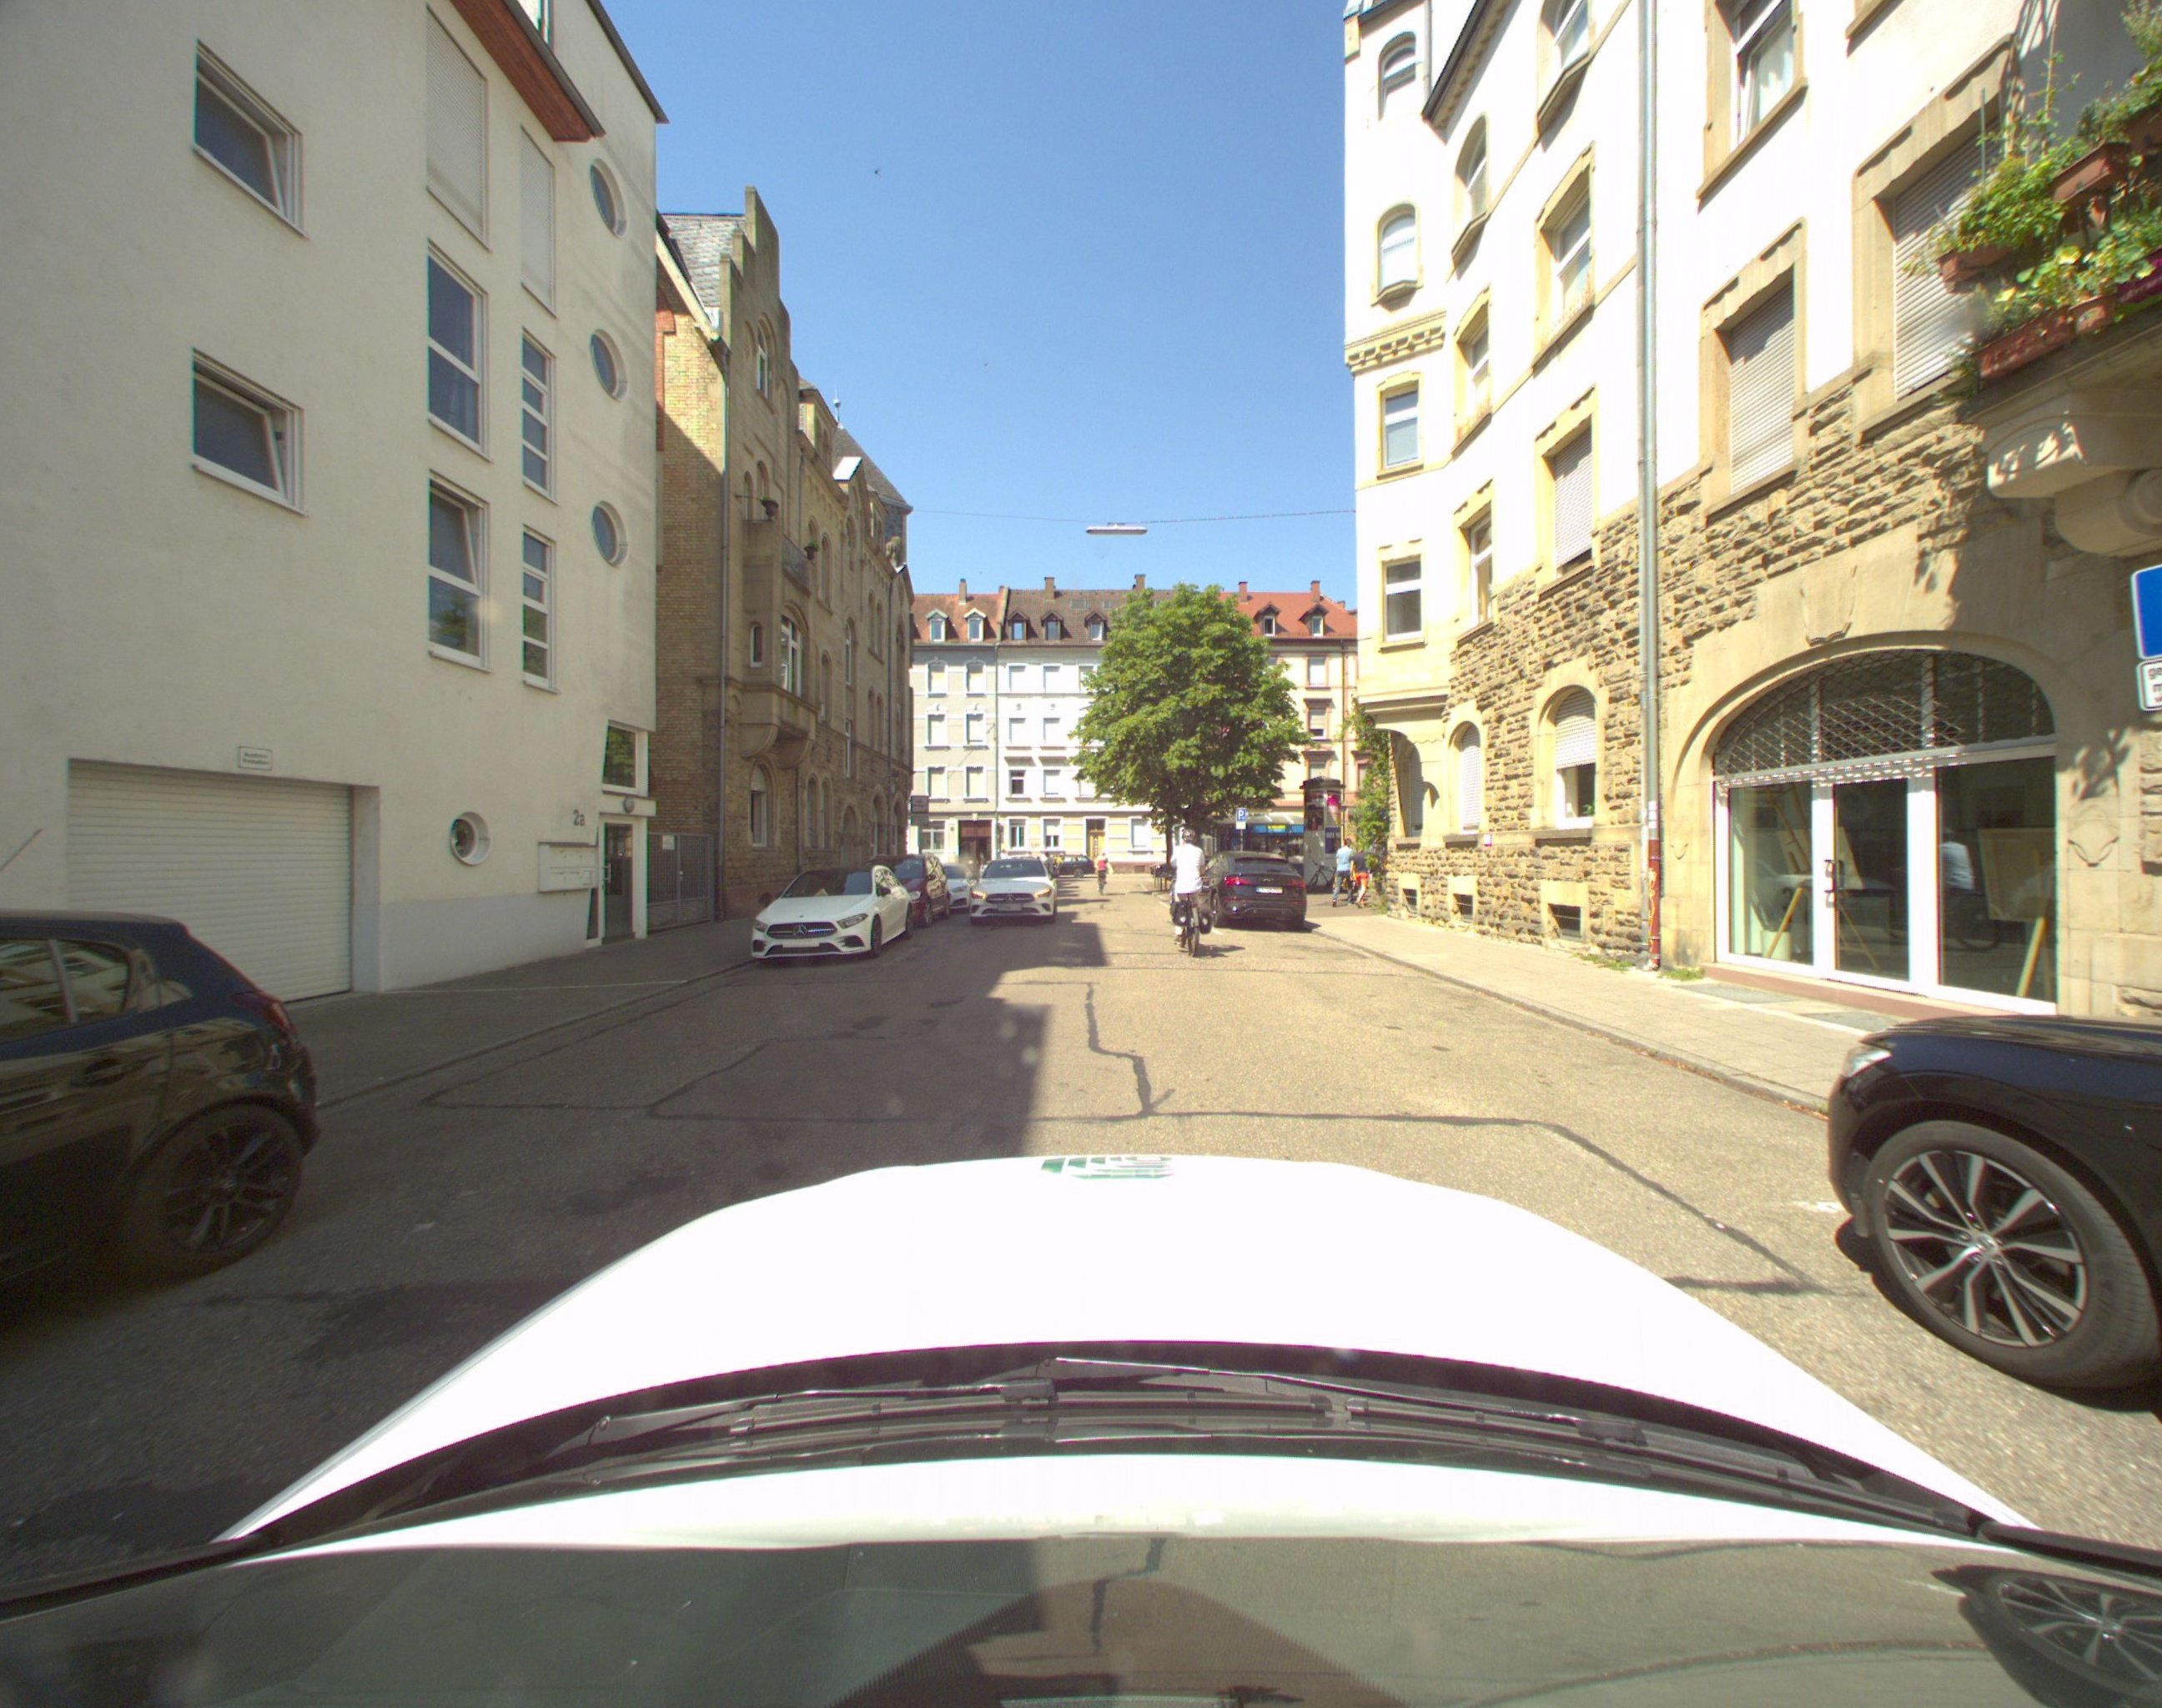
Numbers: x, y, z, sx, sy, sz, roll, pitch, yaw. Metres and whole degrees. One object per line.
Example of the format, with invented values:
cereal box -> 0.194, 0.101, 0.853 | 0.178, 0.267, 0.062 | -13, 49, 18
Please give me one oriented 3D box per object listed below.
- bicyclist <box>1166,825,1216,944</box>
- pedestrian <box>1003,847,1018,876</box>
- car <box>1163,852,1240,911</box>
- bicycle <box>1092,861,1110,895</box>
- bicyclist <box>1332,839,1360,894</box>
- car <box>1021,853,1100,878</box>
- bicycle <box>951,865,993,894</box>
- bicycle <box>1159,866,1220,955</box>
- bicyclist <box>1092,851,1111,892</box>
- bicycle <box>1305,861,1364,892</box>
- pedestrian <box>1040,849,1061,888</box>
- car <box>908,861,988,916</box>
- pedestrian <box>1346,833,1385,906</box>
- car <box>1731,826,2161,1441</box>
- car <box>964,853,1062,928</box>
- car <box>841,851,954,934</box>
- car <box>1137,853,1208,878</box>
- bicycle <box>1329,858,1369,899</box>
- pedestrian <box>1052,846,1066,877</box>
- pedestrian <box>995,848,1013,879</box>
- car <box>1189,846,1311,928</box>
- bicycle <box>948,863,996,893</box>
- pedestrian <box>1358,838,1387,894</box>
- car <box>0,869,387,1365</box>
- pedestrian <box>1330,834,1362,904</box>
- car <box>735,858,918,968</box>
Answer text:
bicyclist -> 1.666, 0.452, 12.401 | 0.668, 1.760, 0.609 | 1, 0, 1
pedestrian -> -4.493, 0.477, 51.817 | 0.899, 1.814, 0.959 | -1, 0, -5
car -> 3.480, 0.742, 24.134 | 1.657, 1.540, 4.177 | 1, 0, 0
bicycle -> 0.763, 0.895, 31.385 | 0.649, 1.209, 2.442 | 1, 0, 1
bicyclist -> 8.071, 0.381, 24.778 | 0.671, 1.647, 0.666 | -1, -1, 28
car -> -1.276, 0.720, 51.616 | 4.844, 1.437, 1.999 | -1, 0, -1
bicycle -> -4.106, 0.958, 30.647 | 1.522, 1.008, 0.366 | 2, -1, -5
bicycle -> 1.661, 0.824, 12.795 | 0.649, 1.228, 2.442 | 1, 0, 1
bicyclist -> 0.795, 0.671, 31.443 | 0.668, 1.533, 0.609 | -1, 0, 1
bicycle -> 8.963, 0.796, 28.840 | 1.894, 1.039, 0.634 | -1, 0, 0
pedestrian -> -1.364, 0.645, 36.480 | 0.854, 1.672, 0.774 | -1, 0, 0
car -> -3.786, 0.933, 23.805 | 1.697, 1.352, 4.511 | -3, 0, -2
pedestrian -> 7.525, 0.391, 21.533 | 0.887, 1.880, 0.594 | 0, -1, -41
car -> 3.695, 0.734, 1.158 | 1.828, 1.567, 4.603 | 1, 0, -1
car -> -1.450, 0.757, 18.916 | 1.835, 1.461, 4.361 | -3, 0, 0
car -> -4.025, 0.783, 18.515 | 1.668, 1.583, 4.050 | -3, 0, -2
car -> 5.723, 0.700, 51.346 | 4.281, 1.370, 1.807 | -1, 2, -1
bicycle -> 8.213, 0.717, 24.900 | 0.786, 1.169, 2.593 | -1, 0, 26
pedestrian -> -1.368, 0.466, 50.382 | 0.724, 1.853, 0.682 | -1, 0, -10
pedestrian -> -4.824, 0.563, 50.767 | 0.844, 1.889, 0.938 | -1, 0, 10
car -> 3.661, 0.667, 18.387 | 1.731, 1.597, 4.345 | 1, 0, -2
bicycle -> -4.043, 0.892, 30.199 | 1.701, 1.045, 0.413 | 2, -1, -5
pedestrian -> 9.611, 0.389, 26.848 | 0.753, 1.794, 0.576 | -1, -1, -38
car -> -4.103, 0.847, 1.900 | 1.562, 1.491, 3.893 | -3, 0, 0
pedestrian -> 7.202, 0.396, 22.107 | 0.656, 1.869, 0.514 | 0, -1, -36
car -> -4.013, 0.838, 13.637 | 1.772, 1.460, 4.276 | -3, 0, -2
